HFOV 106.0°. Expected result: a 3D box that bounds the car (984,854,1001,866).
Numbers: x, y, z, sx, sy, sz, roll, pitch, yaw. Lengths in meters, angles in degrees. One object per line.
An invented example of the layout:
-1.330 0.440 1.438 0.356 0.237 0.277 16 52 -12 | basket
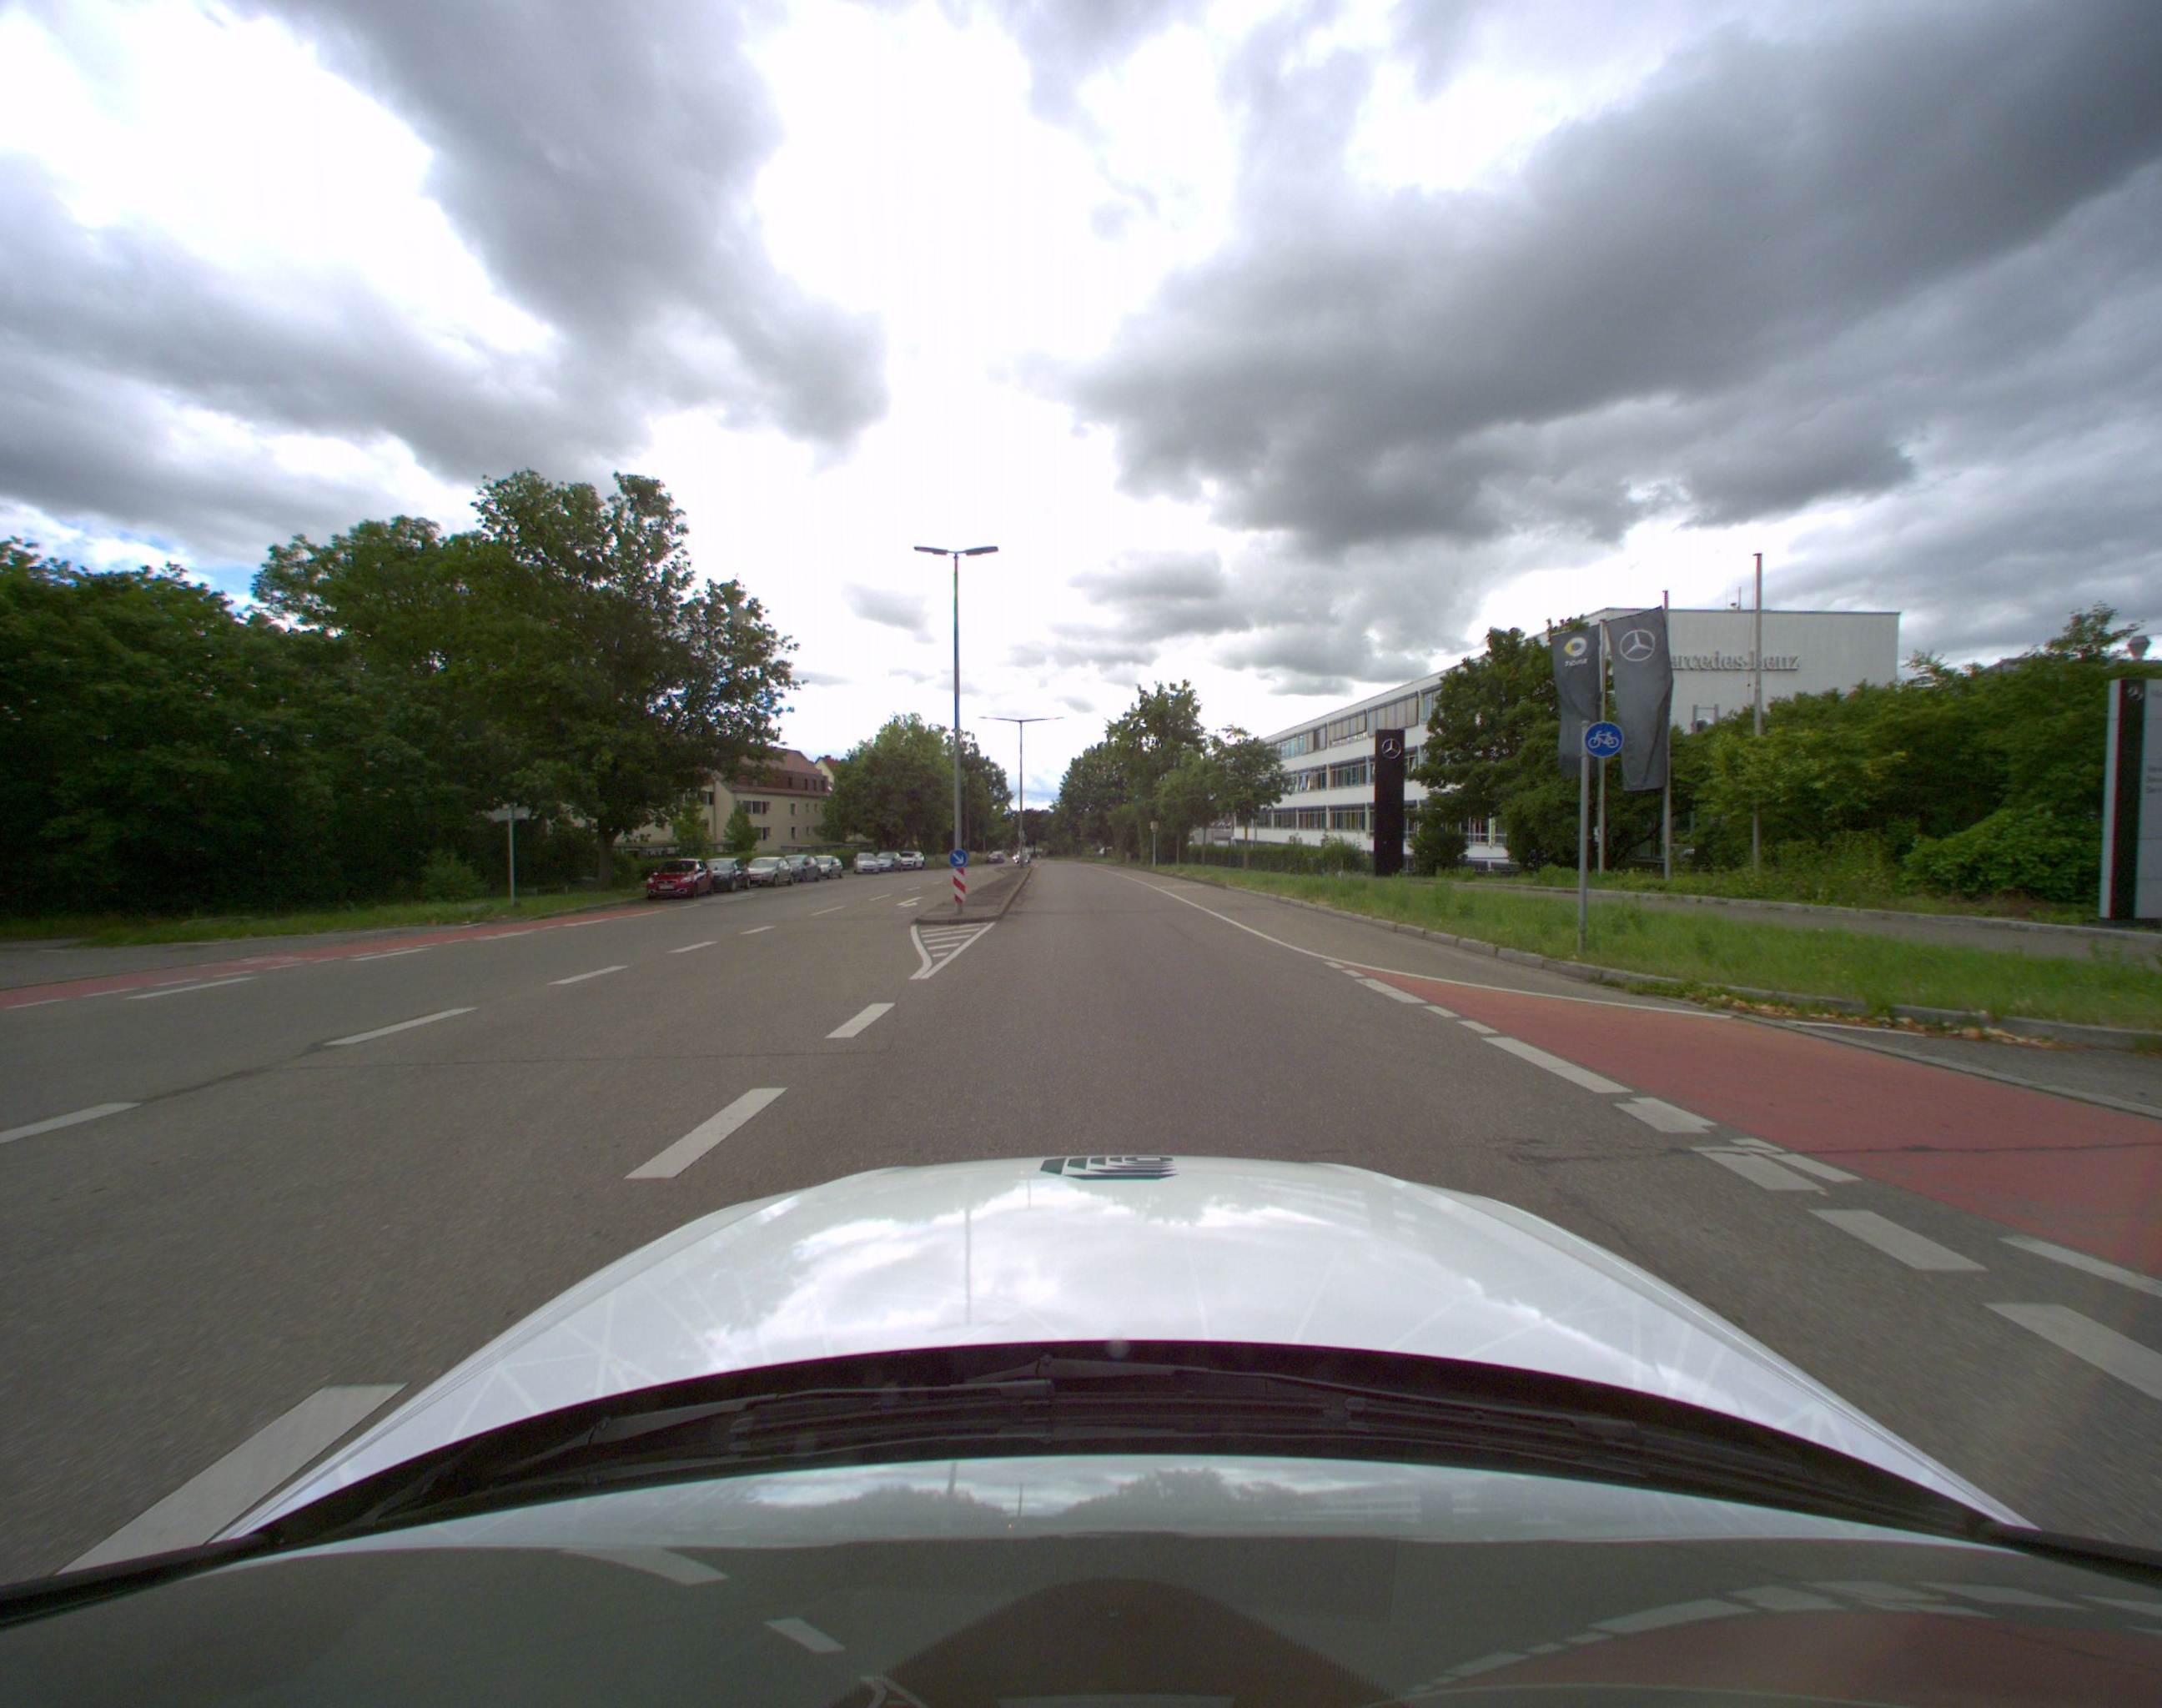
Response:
-11.963 0.774 110.428 1.869 1.570 4.649 -1 0 -1 | car

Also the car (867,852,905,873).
-15.765 0.695 66.037 1.866 1.597 4.005 -1 -1 5 | car

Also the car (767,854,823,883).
-16.321 0.799 46.623 1.870 1.507 3.997 0 1 -2 | car

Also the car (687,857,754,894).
-15.798 0.895 35.926 1.876 1.507 3.984 0 0 -12 | car

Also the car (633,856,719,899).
-15.581 0.865 31.541 1.875 1.507 3.876 0 0 -9 | car

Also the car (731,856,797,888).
-15.826 0.870 40.847 1.871 1.507 4.052 0 0 -3 | car

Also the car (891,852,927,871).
-15.000 0.670 71.182 1.866 1.667 4.396 -1 -1 5 | car

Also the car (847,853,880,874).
-16.330 0.698 61.032 1.882 1.507 3.972 -1 0 -21 | car

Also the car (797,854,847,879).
-16.447 0.769 51.926 1.870 1.507 3.999 -1 0 -1 | car

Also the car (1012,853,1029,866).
-7.801 0.762 104.708 1.869 1.570 4.337 0 -1 -1 | car
